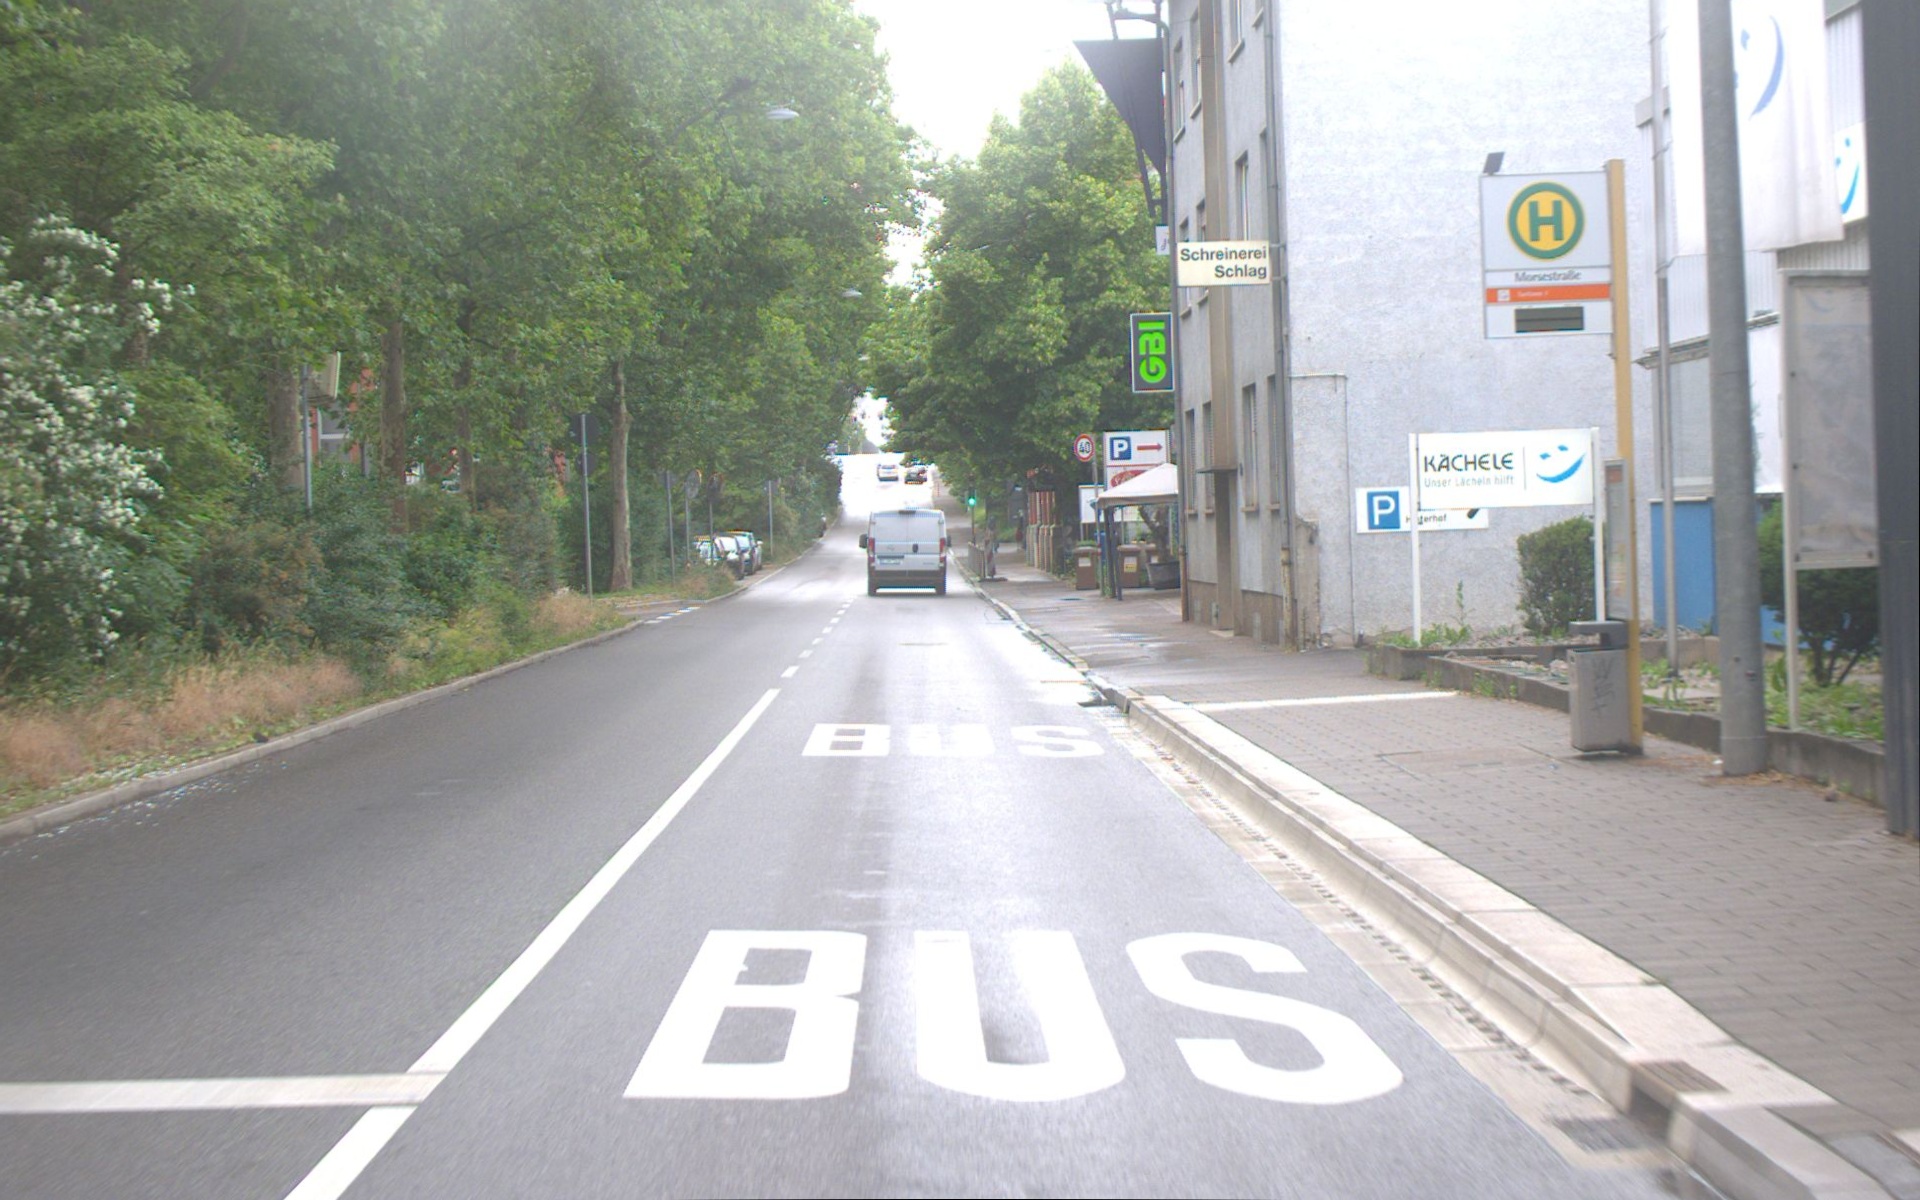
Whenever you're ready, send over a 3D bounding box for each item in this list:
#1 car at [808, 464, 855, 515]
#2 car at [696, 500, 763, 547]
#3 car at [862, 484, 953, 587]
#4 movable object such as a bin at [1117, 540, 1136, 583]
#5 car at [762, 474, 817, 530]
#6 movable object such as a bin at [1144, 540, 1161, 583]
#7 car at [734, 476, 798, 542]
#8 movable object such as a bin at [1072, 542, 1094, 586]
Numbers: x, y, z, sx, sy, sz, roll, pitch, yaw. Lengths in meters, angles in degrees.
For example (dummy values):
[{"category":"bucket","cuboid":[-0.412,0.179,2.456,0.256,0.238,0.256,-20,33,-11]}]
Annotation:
[{"category":"car","cuboid":[-6.234,-5.356,167.277,2.215,2.286,4.609,0,-1,-1]},{"category":"car","cuboid":[-9.028,-3.002,135.087,2.215,1.685,4.609,0,-1,1]},{"category":"car","cuboid":[-1.370,-1.662,90.021,2.282,2.544,4.000,-1,-1,-1]},{"category":"movable object such as a bin","cuboid":[4.128,-0.952,85.440,0.399,1.063,0.358,-1,-1,-7]},{"category":"car","cuboid":[-7.948,-4.560,160.439,2.215,2.286,4.608,0,-2,1]},{"category":"movable object such as a bin","cuboid":[4.792,-0.954,85.491,0.356,1.063,0.358,0,-1,-7]},{"category":"car","cuboid":[-7.856,-3.677,139.781,2.215,2.525,4.609,0,-1,1]},{"category":"movable object such as a bin","cuboid":[3.055,-0.885,85.354,0.399,1.063,0.358,-4,0,-7]}]
